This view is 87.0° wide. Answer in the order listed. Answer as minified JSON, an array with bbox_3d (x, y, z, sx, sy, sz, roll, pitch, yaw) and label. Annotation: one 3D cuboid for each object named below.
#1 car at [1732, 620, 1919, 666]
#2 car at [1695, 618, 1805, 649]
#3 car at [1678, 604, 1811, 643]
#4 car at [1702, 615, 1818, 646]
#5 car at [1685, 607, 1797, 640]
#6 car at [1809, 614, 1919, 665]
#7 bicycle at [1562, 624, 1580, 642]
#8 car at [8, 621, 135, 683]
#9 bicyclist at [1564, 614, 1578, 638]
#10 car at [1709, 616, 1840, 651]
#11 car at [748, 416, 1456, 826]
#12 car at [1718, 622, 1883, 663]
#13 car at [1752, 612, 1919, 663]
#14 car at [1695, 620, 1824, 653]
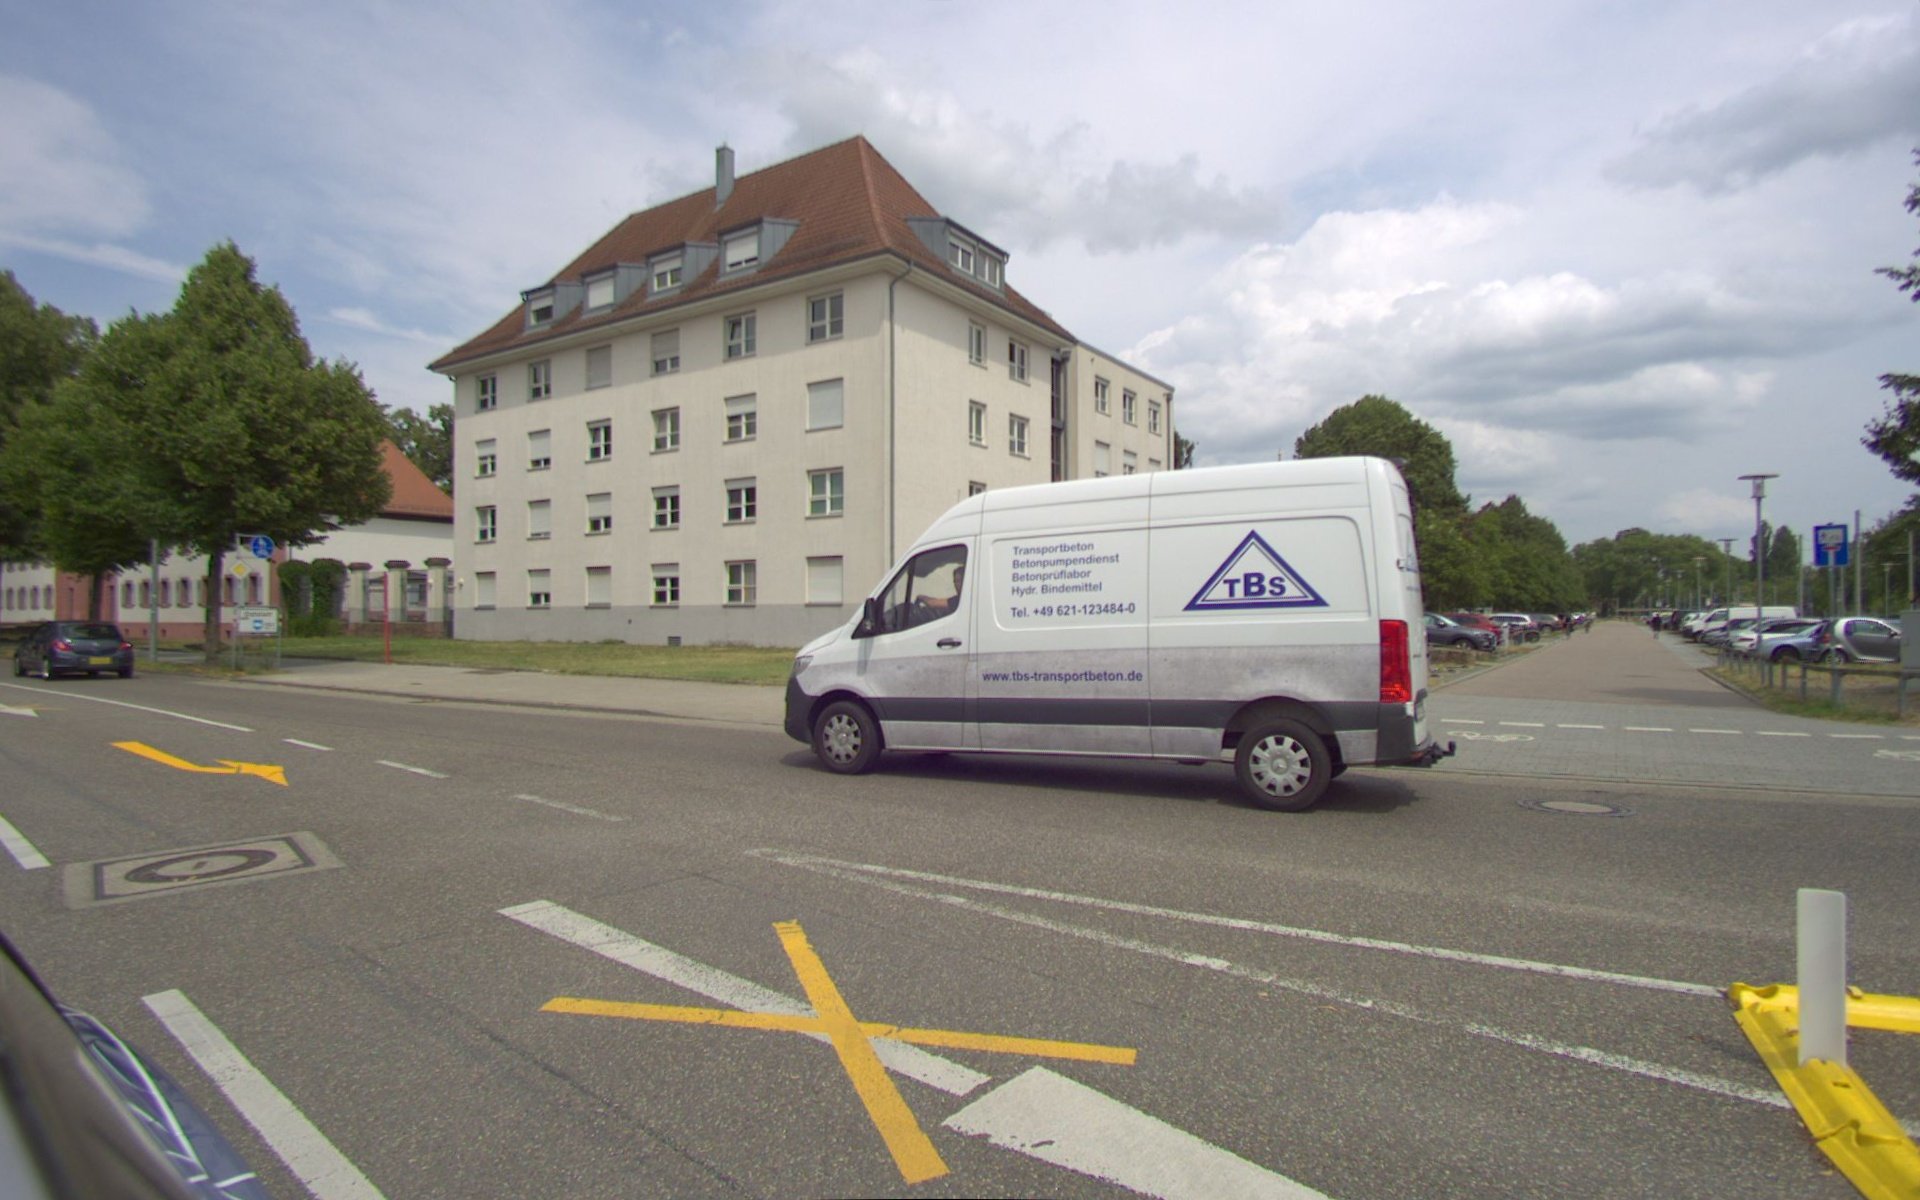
[{"bbox_3d":[29.874,1.431,35.032,4.876,1.482,1.812,-1,-1,34],"label":"car"},{"bbox_3d":[40.316,1.695,51.796,4.300,1.482,1.812,-1,-1,34],"label":"car"},{"bbox_3d":[43.180,1.295,55.899,5.551,2.071,2.177,-1,-1,32],"label":"car"},{"bbox_3d":[39.040,1.463,49.527,4.300,1.482,1.812,-1,-1,34],"label":"car"},{"bbox_3d":[50.472,1.486,65.544,5.555,2.071,2.176,-1,-1,34],"label":"car"},{"bbox_3d":[27.525,1.176,30.298,2.902,1.434,1.470,-3,-3,27],"label":"car"},{"bbox_3d":[36.791,1.972,60.926,0.601,1.054,1.804,-2,-2,40],"label":"bicycle"},{"bbox_3d":[-22.204,1.245,25.244,3.914,1.421,1.656,-1,-1,37],"label":"car"},{"bbox_3d":[36.767,1.587,60.915,0.602,1.434,0.792,-2,-2,41],"label":"bicyclist"},{"bbox_3d":[36.255,1.448,45.192,4.376,1.482,1.812,-1,-1,34],"label":"car"},{"bbox_3d":[1.072,0.173,9.040,5.945,2.706,2.051,-1,-1,29],"label":"car"},{"bbox_3d":[32.227,1.596,39.027,4.697,1.482,1.812,-1,-1,34],"label":"car"},{"bbox_3d":[28.645,1.214,32.567,4.689,1.482,1.814,-3,-2,31],"label":"car"},{"bbox_3d":[37.446,1.683,47.557,4.592,1.482,1.812,-1,-1,34],"label":"car"}]
